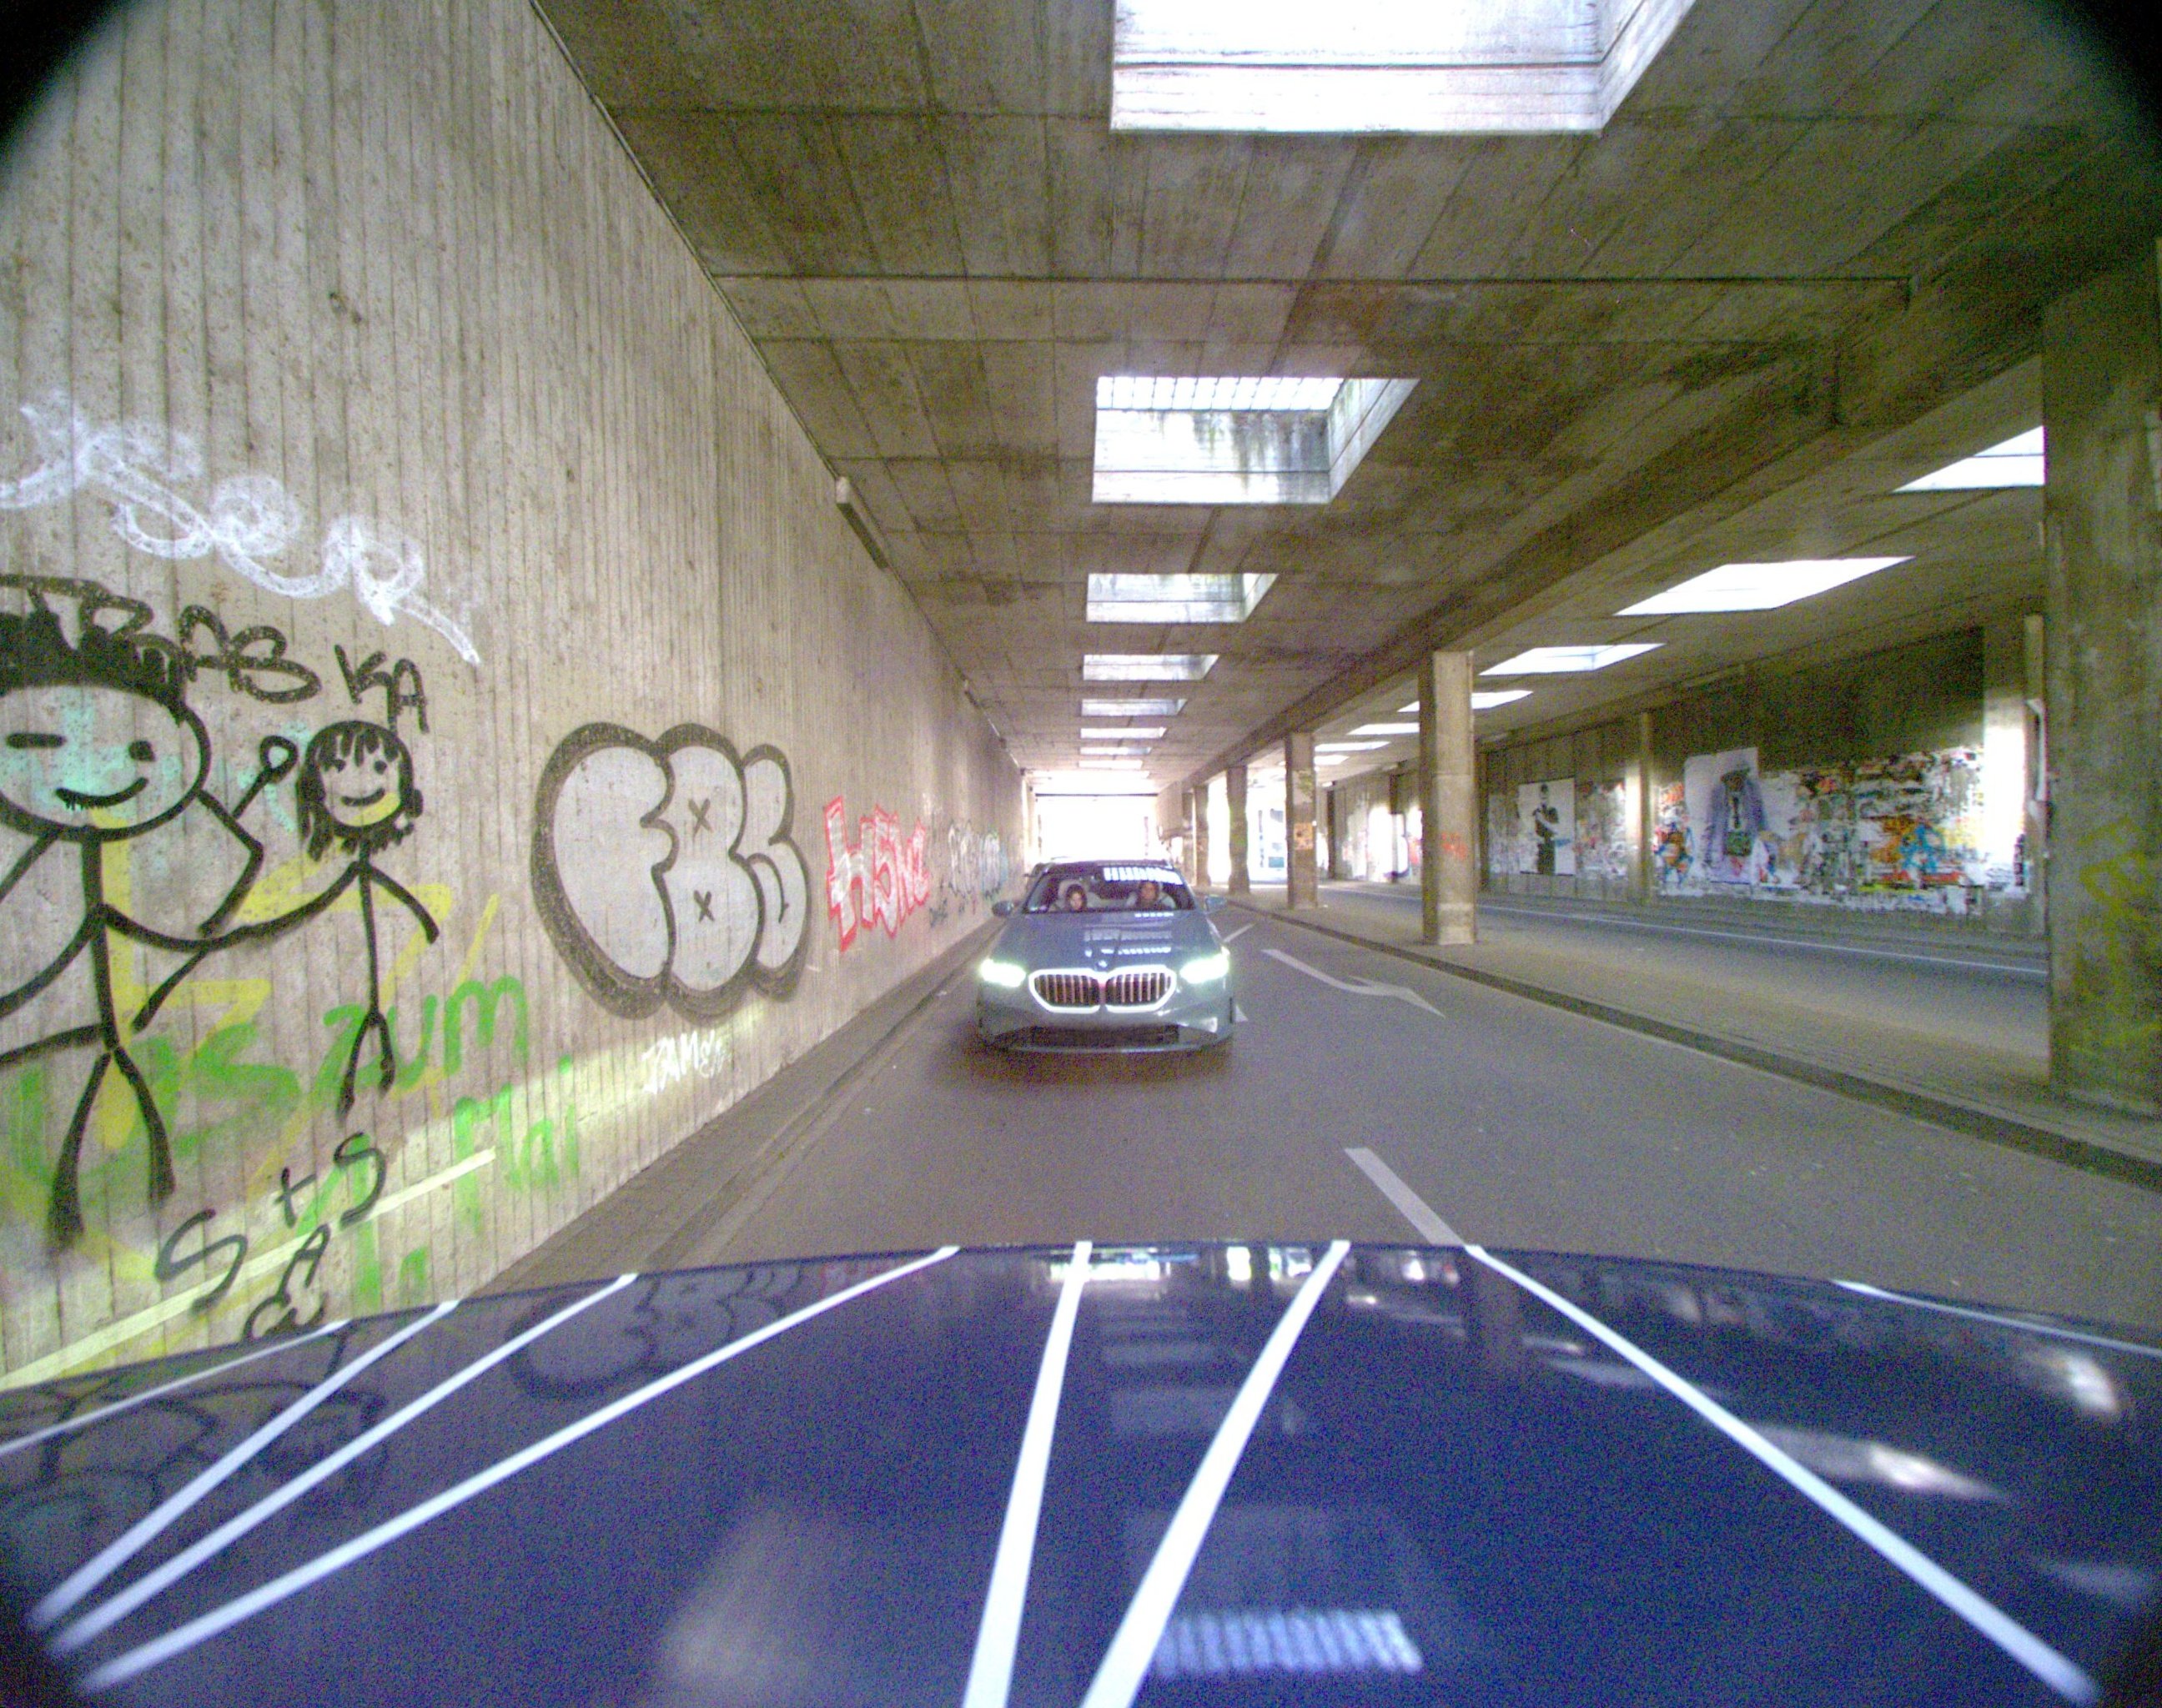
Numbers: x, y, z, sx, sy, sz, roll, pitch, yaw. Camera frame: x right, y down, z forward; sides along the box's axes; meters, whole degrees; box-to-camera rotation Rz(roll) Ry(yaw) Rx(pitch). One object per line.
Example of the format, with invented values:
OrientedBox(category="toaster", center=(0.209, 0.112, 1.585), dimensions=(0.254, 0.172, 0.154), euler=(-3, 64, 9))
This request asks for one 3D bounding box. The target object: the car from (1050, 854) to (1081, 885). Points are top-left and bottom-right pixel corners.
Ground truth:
OrientedBox(category="car", center=(-0.820, 0.814, 41.270), dimensions=(1.592, 1.562, 3.694), euler=(-2, 0, 0))

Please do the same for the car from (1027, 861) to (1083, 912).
OrientedBox(category="car", center=(-0.773, 0.957, 23.936), dimensions=(1.592, 1.432, 3.806), euler=(-2, 0, 0))

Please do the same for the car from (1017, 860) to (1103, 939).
OrientedBox(category="car", center=(-0.436, 0.929, 17.310), dimensions=(1.679, 1.516, 3.969), euler=(-2, 0, 0))

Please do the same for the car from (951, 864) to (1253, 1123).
OrientedBox(category="car", center=(0.118, 0.915, 7.301), dimensions=(1.861, 1.516, 5.042), euler=(-2, 0, 0))

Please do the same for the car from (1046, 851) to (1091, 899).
OrientedBox(category="car", center=(-0.475, 0.780, 29.943), dimensions=(1.592, 1.711, 3.694), euler=(-2, 0, 0))

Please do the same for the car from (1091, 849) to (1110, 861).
OrientedBox(category="car", center=(2.459, 0.146, 97.990), dimensions=(1.741, 1.519, 3.786), euler=(-2, 0, -9))

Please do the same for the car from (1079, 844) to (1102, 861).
OrientedBox(category="car", center=(1.262, -0.183, 103.682), dimensions=(2.161, 2.150, 4.785), euler=(-2, 0, -12))
